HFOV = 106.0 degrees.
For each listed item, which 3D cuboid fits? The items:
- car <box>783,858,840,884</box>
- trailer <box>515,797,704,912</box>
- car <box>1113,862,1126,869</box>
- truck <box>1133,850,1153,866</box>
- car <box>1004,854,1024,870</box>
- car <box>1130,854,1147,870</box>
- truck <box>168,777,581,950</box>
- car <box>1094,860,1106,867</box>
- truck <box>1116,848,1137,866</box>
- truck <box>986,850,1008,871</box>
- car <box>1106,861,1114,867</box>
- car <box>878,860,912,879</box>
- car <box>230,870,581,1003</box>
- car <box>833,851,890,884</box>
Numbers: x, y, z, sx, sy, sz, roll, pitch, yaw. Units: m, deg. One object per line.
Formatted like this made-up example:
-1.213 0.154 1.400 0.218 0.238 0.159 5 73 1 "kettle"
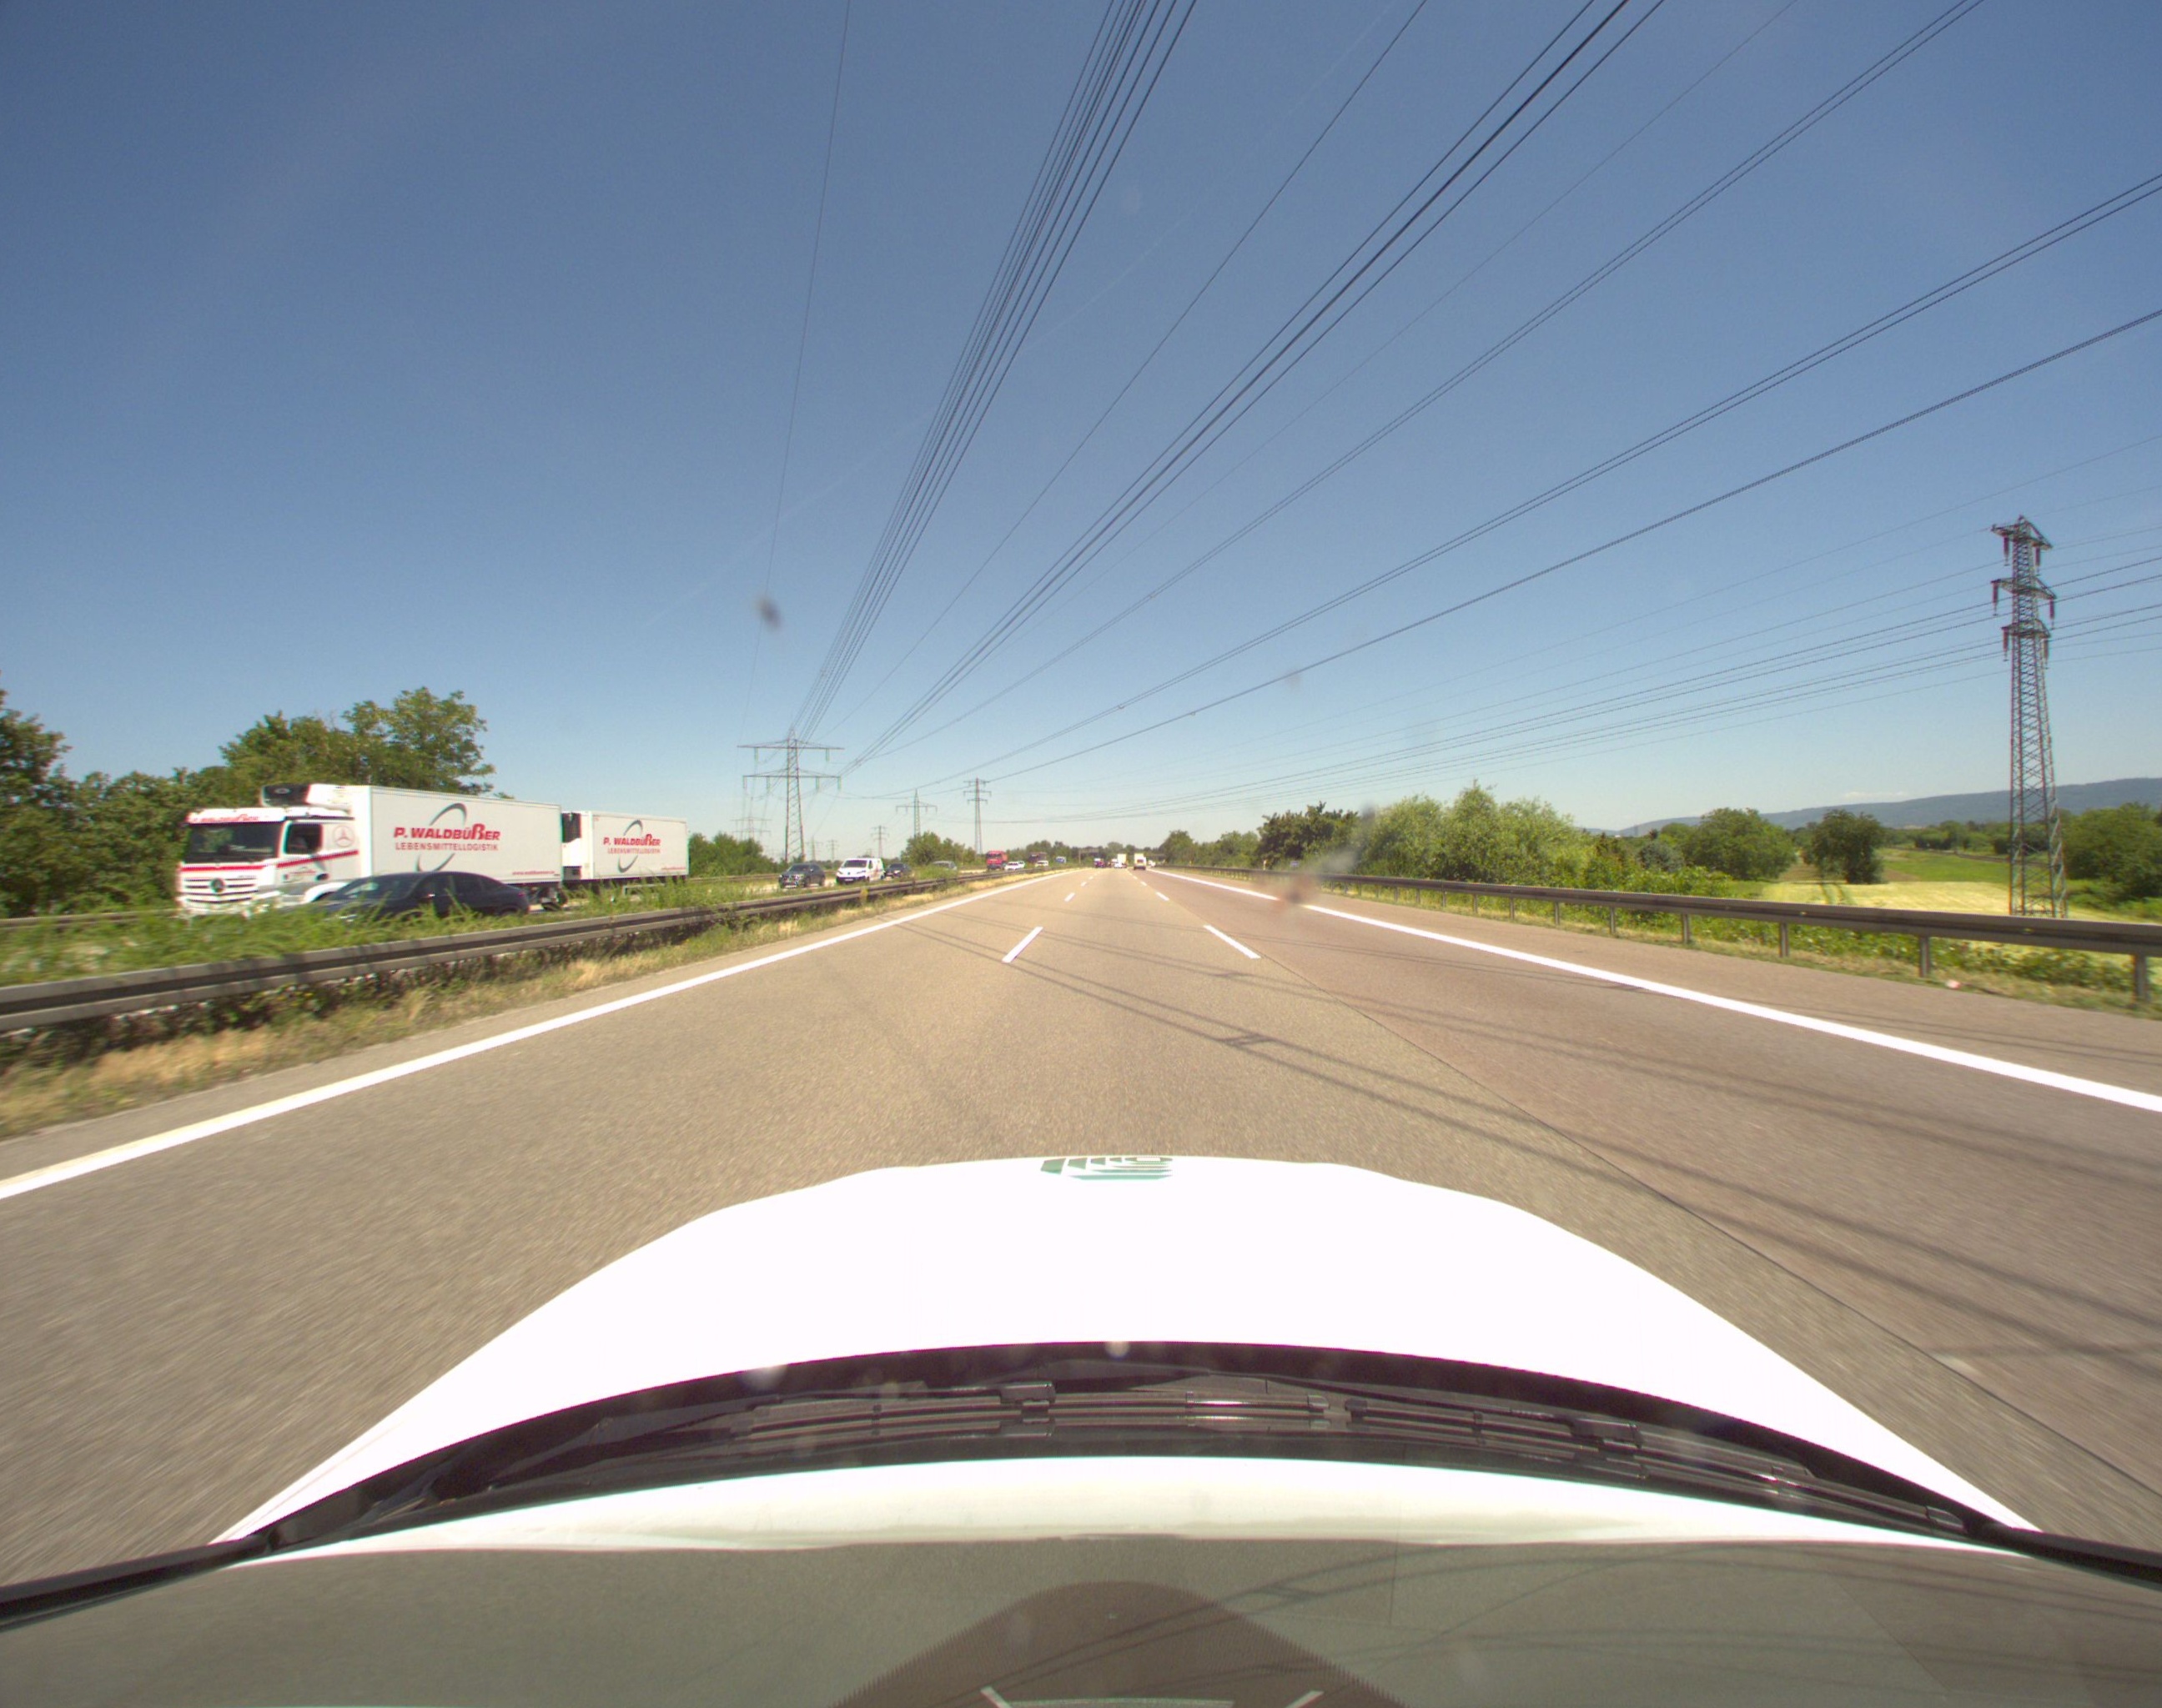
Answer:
-18.133 1.105 55.002 1.986 1.585 5.070 0 0 2 "car"
-19.089 0.006 33.804 2.831 4.164 8.330 0 0 1 "trailer"
8.783 2.645 184.644 1.814 1.547 4.337 0 0 16 "car"
17.588 0.964 230.317 3.159 4.304 16.072 0 0 13 "truck"
-8.714 1.062 105.685 1.986 2.013 4.924 0 0 2 "car"
9.335 1.258 132.632 2.433 2.321 5.323 -2 0 2 "car"
-19.400 0.190 23.916 2.682 3.949 10.597 0 0 1 "truck"
4.315 2.130 186.030 1.816 1.547 4.333 0 0 12 "car"
13.217 0.672 235.352 3.642 5.018 16.070 0 0 12 "truck"
-14.732 1.061 143.423 2.759 3.526 8.538 0 0 2 "truck"
8.337 2.841 233.535 1.816 1.547 4.333 0 0 12 "car"
-17.899 1.460 78.711 1.987 1.661 5.088 -2 0 0 "car"
-12.697 1.386 16.039 1.986 2.013 5.704 0 0 2 "car"
-14.190 0.824 52.996 1.986 2.013 5.704 0 0 2 "car"
